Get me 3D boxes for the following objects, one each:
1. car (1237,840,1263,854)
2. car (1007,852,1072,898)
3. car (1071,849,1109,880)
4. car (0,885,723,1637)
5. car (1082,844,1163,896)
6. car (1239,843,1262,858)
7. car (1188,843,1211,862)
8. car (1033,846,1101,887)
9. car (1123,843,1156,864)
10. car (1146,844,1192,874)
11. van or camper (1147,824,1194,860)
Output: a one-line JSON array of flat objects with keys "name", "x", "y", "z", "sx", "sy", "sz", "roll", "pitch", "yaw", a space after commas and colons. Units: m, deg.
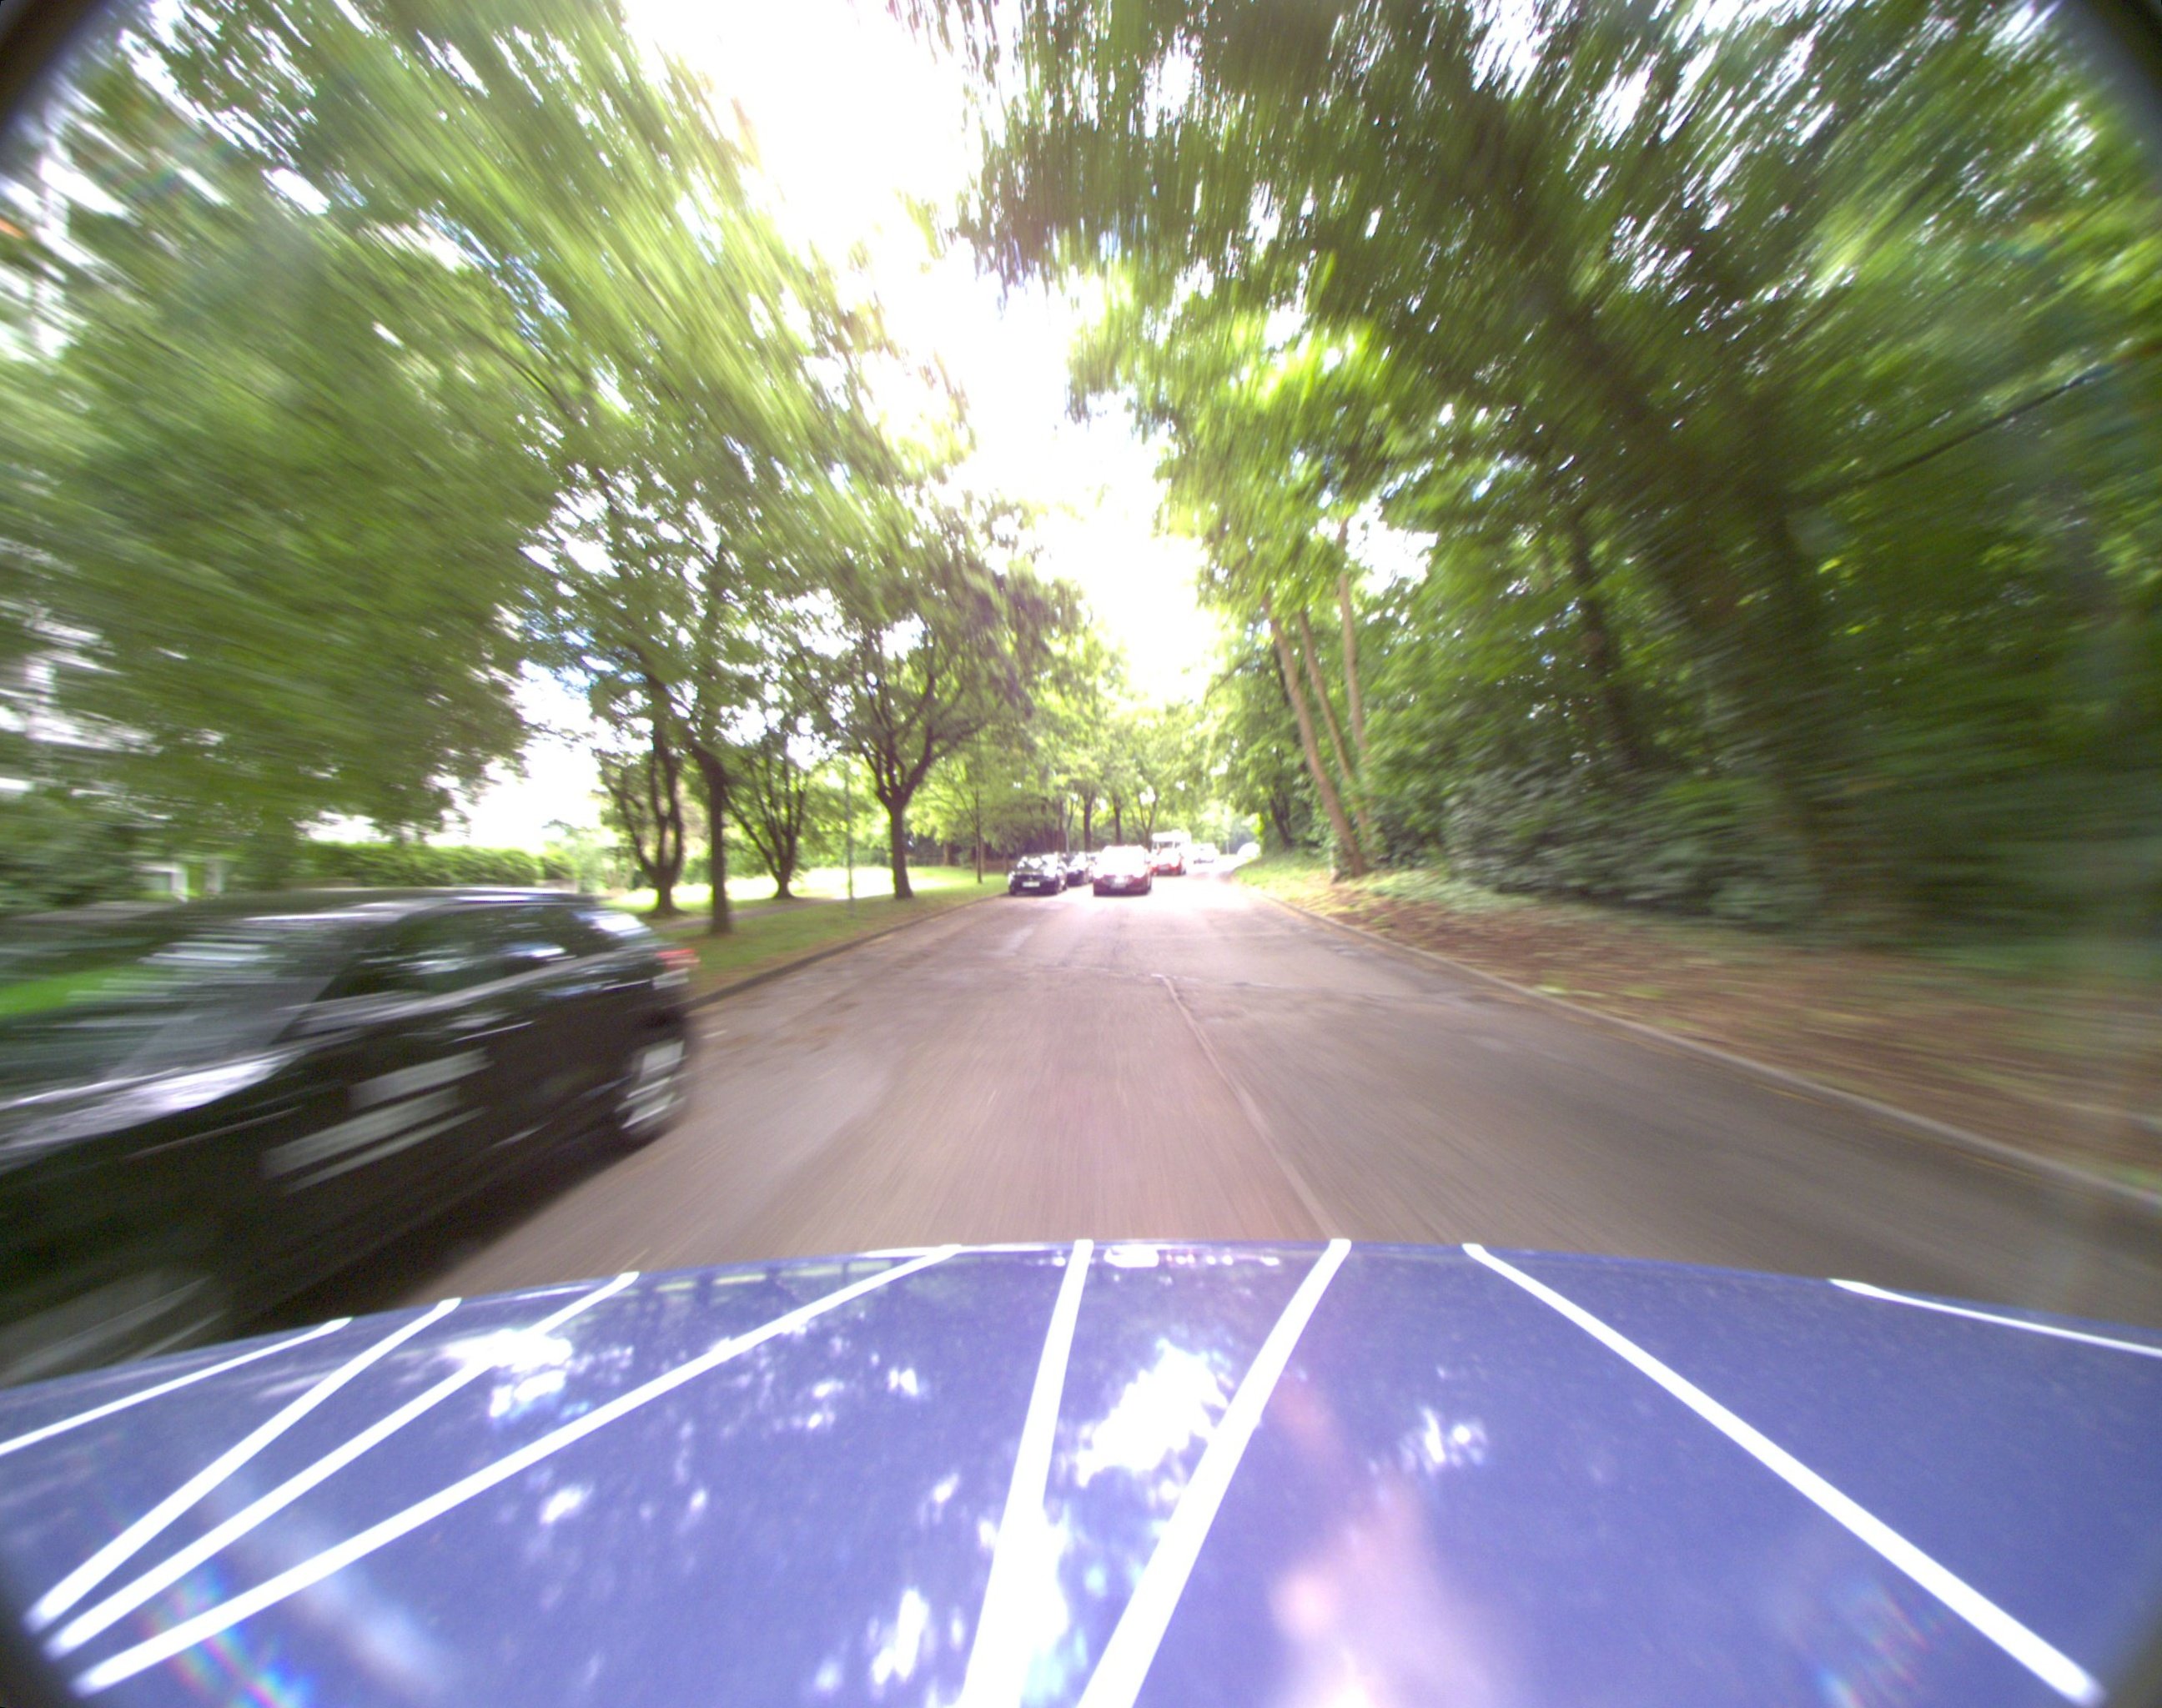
[{"name": "car", "x": 21.537, "y": -0.926, "z": 96.713, "sx": 1.712, "sy": 1.543, "sz": 4.685, "roll": -2, "pitch": 1, "yaw": 30}, {"name": "car", "x": -1.448, "y": 0.709, "z": 27.887, "sx": 1.685, "sy": 1.456, "sz": 3.899, "roll": -3, "pitch": 0, "yaw": 6}, {"name": "car", "x": 0.514, "y": 0.472, "z": 38.311, "sx": 1.592, "sy": 1.457, "sz": 4.317, "roll": -1, "pitch": 0, "yaw": 5}, {"name": "car", "x": -3.283, "y": 1.015, "z": 2.768, "sx": 1.778, "sy": 1.514, "sz": 4.183, "roll": -3, "pitch": 0, "yaw": 2}, {"name": "car", "x": 1.613, "y": 0.504, "z": 27.453, "sx": 2.001, "sy": 1.599, "sz": 4.681, "roll": -3, "pitch": 0, "yaw": 14}, {"name": "car", "x": 19.271, "y": -0.432, "z": 86.368, "sx": 1.765, "sy": 1.559, "sz": 4.051, "roll": -2, "pitch": 1, "yaw": 22}, {"name": "car", "x": 10.224, "y": -0.164, "z": 66.014, "sx": 1.654, "sy": 1.559, "sz": 4.047, "roll": -3, "pitch": 0, "yaw": 5}, {"name": "car", "x": -0.505, "y": 0.489, "z": 33.363, "sx": 1.916, "sy": 1.602, "sz": 4.738, "roll": -3, "pitch": 0, "yaw": 12}, {"name": "car", "x": 4.435, "y": -0.060, "z": 56.987, "sx": 1.691, "sy": 1.474, "sz": 4.110, "roll": -3, "pitch": 0, "yaw": 14}, {"name": "car", "x": 4.963, "y": 0.224, "z": 42.243, "sx": 1.956, "sy": 1.464, "sz": 4.681, "roll": -3, "pitch": 0, "yaw": 14}, {"name": "van or camper", "x": 8.202, "y": -1.078, "z": 68.690, "sx": 2.427, "sy": 2.962, "sz": 7.403, "roll": -3, "pitch": 1, "yaw": 21}]
